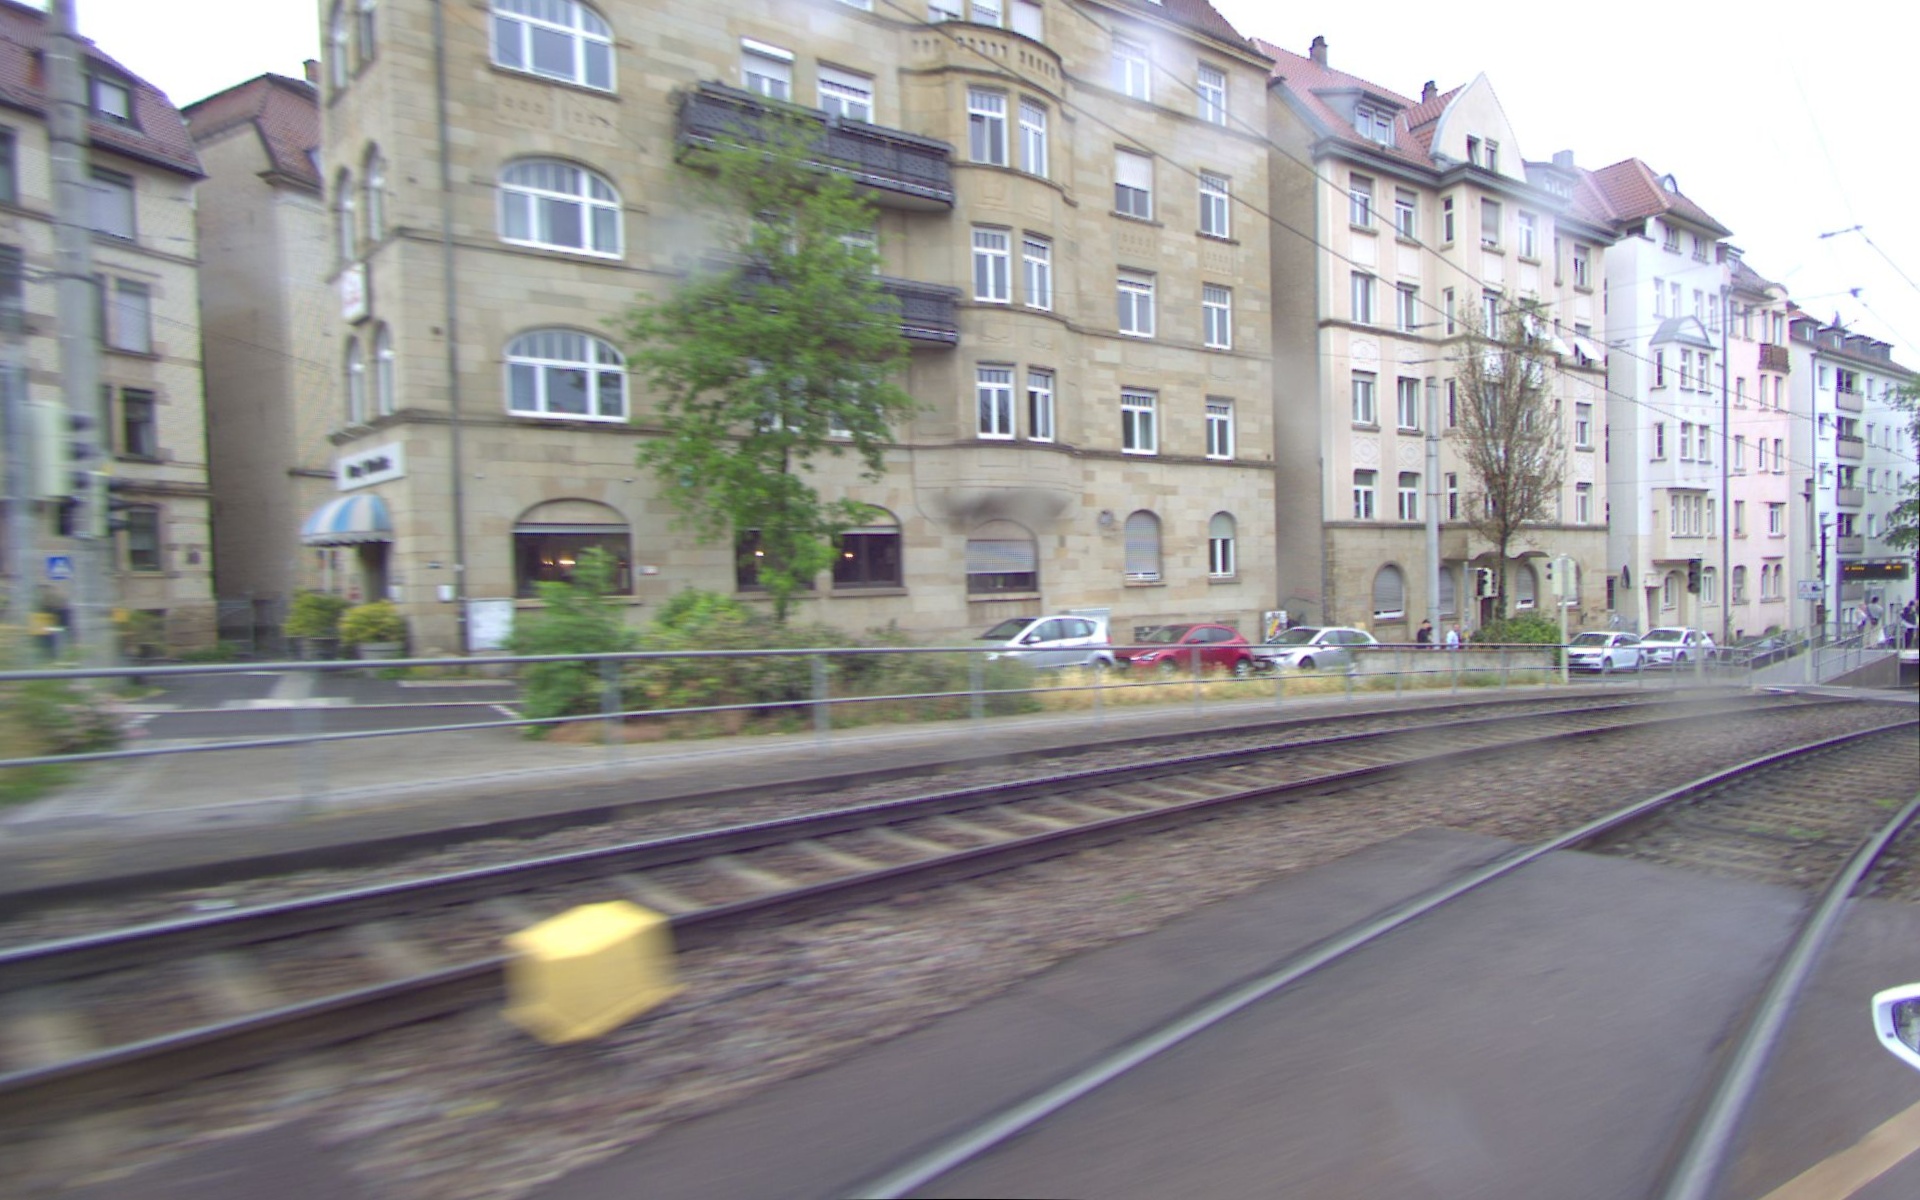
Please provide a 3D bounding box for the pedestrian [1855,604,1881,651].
[{"bbox_3d":[32.019,0.982,35.411,0.557,1.626,0.513,2,-3,-33],"label":"pedestrian"}]

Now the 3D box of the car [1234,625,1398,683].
[{"bbox_3d":[9.739,1.430,27.295,4.818,1.461,1.707,2,-2,-34],"label":"car"}]

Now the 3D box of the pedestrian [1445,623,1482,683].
[{"bbox_3d":[14.706,1.526,29.346,0.720,1.722,0.716,1,-1,-32],"label":"pedestrian"}]

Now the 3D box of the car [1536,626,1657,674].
[{"bbox_3d":[23.033,1.817,36.308,4.484,1.553,1.982,3,0,-33],"label":"car"}]

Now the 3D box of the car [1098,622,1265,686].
[{"bbox_3d":[5.504,1.302,24.835,4.130,1.461,1.621,1,-2,-33],"label":"car"}]

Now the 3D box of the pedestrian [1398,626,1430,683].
[{"bbox_3d":[12.914,1.539,28.576,0.614,1.614,0.622,1,-1,-32],"label":"pedestrian"}]

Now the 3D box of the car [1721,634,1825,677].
[{"bbox_3d":[35.377,2.413,43.682,4.758,1.754,1.984,2,-3,-31],"label":"car"}]

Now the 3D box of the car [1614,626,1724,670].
[{"bbox_3d":[27.740,1.858,39.286,4.484,1.643,1.913,1,-3,-32],"label":"car"}]

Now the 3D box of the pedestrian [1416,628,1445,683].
[{"bbox_3d":[13.604,1.600,29.036,0.614,1.552,0.517,1,-1,-32],"label":"pedestrian"}]

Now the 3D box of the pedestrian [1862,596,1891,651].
[{"bbox_3d":[31.736,0.825,34.798,0.592,1.874,0.558,2,-3,-33],"label":"pedestrian"}]

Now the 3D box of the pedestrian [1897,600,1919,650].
[{"bbox_3d":[35.626,0.940,37.668,0.754,1.862,0.513,2,-3,-33],"label":"pedestrian"}]

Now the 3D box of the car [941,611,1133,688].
[{"bbox_3d":[1.753,1.071,22.317,4.130,1.567,1.621,1,-2,-33],"label":"car"}]
